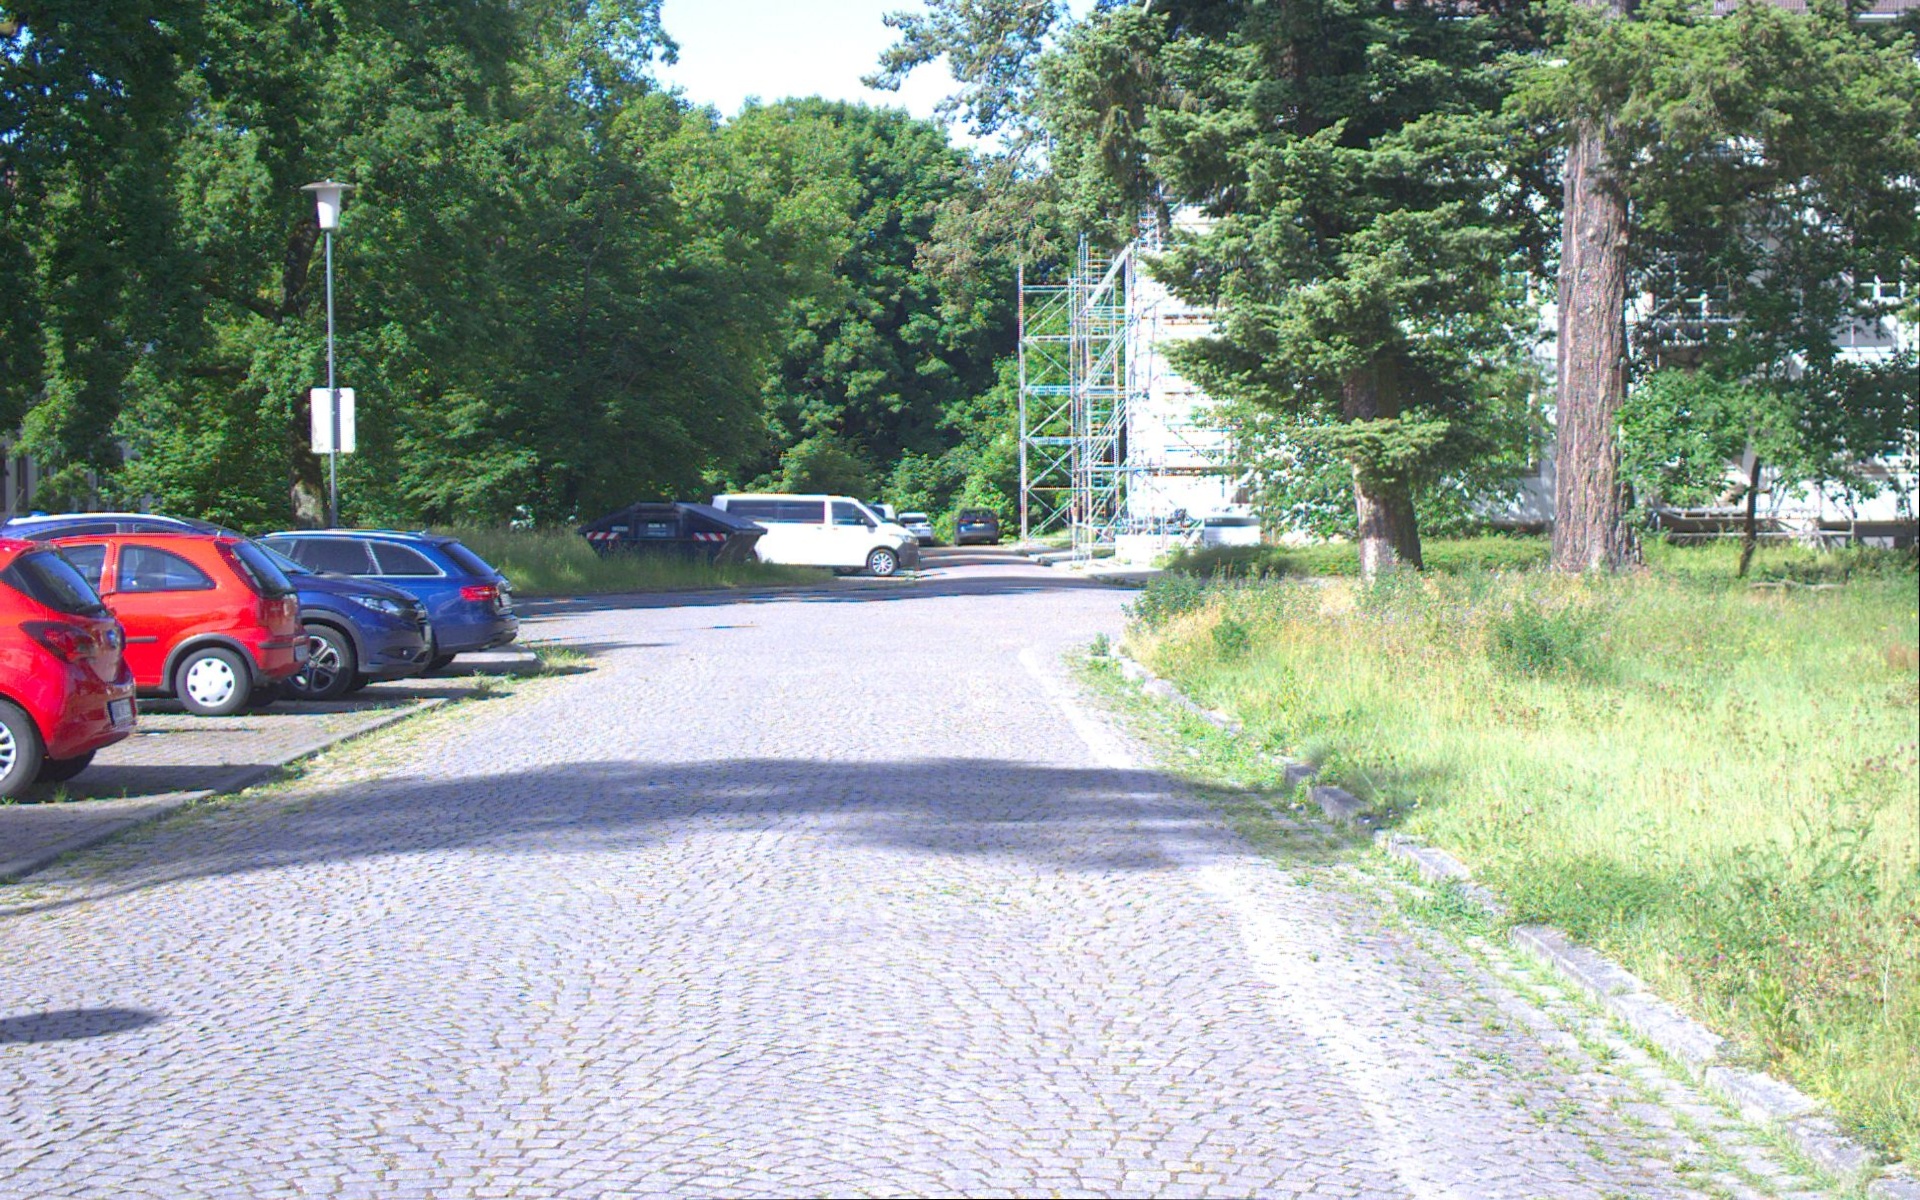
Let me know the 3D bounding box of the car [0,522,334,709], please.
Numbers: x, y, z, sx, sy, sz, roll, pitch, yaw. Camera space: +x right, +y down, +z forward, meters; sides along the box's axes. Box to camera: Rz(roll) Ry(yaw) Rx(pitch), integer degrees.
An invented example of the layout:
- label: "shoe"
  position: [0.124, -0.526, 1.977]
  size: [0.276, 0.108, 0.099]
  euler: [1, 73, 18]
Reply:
- label: "car"
  position: [-7.149, 0.099, 27.536]
  size: [3.923, 1.428, 1.842]
  euler: [0, 2, 1]

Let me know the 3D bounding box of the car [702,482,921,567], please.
- label: "car"
  position: [-3.581, -1.833, 83.464]
  size: [5.234, 2.009, 1.950]
  euler: [0, 1, -1]

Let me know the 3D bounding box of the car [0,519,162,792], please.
- label: "car"
  position: [-6.709, 0.273, 19.617]
  size: [3.923, 1.456, 1.842]
  euler: [0, 2, -2]

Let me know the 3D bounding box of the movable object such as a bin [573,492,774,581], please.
- label: "movable object such as a bin"
  position: [-5.844, -1.309, 70.359]
  size: [3.568, 1.738, 2.023]
  euler: [-1, 1, 18]

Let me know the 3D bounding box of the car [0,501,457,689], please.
- label: "car"
  position: [-6.576, -0.070, 29.898]
  size: [4.135, 1.574, 1.885]
  euler: [0, 2, -1]

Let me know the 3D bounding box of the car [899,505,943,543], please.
- label: "car"
  position: [-1.706, -3.304, 149.481]
  size: [1.812, 1.574, 4.135]
  euler: [-1, 1, -1]

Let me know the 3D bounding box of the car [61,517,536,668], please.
- label: "car"
  position: [-6.593, -0.098, 34.583]
  size: [4.360, 1.440, 1.921]
  euler: [0, 2, 2]

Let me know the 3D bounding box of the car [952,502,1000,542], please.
- label: "car"
  position: [0.694, -3.403, 149.796]
  size: [1.971, 1.662, 4.086]
  euler: [-1, 1, -1]
